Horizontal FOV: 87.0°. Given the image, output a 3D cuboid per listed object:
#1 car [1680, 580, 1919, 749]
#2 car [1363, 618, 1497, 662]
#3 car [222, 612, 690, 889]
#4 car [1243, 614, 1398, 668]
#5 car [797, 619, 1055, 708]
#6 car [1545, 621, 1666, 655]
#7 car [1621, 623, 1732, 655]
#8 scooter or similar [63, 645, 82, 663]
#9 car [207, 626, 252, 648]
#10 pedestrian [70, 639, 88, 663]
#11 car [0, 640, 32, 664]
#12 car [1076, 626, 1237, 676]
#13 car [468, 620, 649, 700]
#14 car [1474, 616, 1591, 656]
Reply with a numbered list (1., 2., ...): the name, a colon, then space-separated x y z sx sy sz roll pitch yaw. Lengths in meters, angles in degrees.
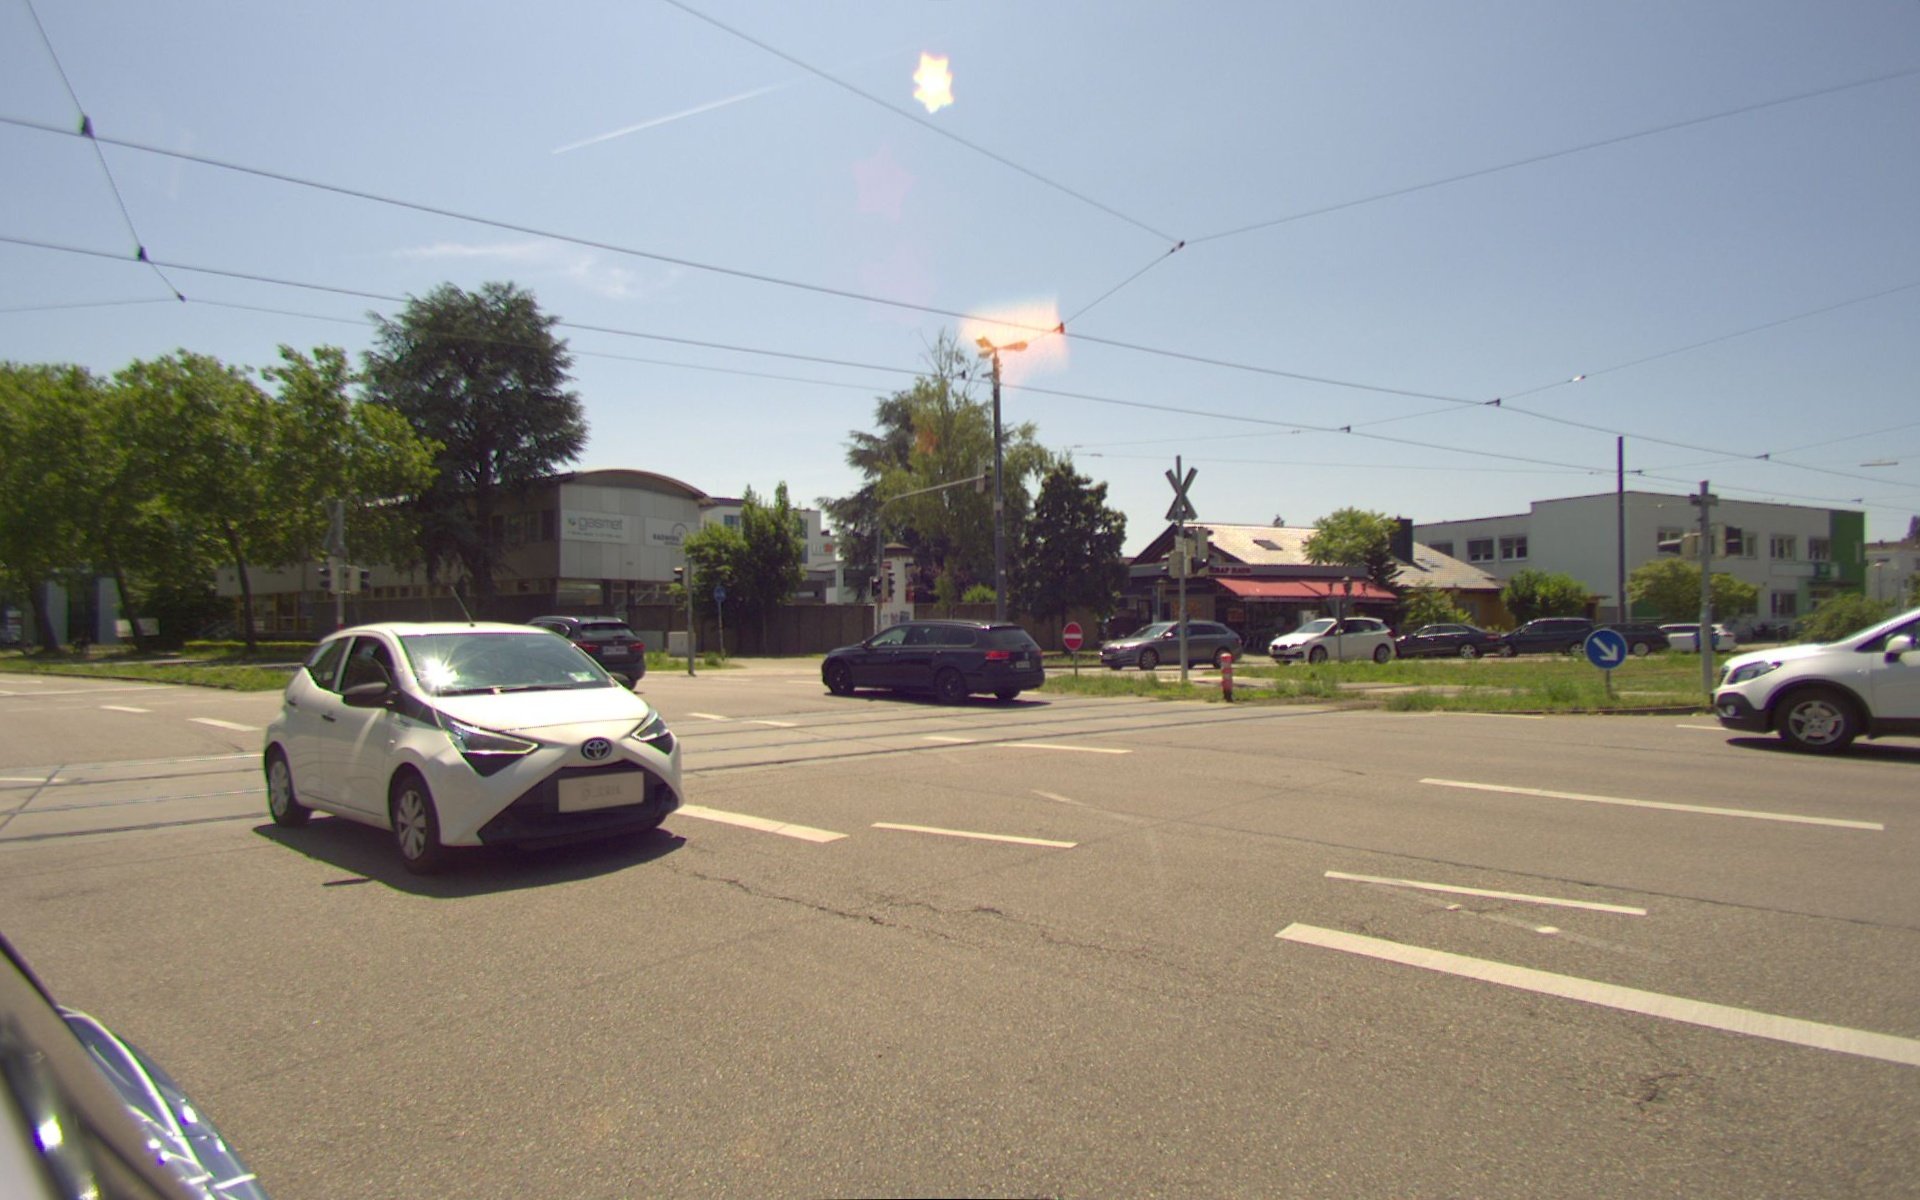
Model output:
1. car: 10.043 0.616 10.165 4.402 1.627 1.769 -2 -2 41
2. car: 18.787 1.598 40.545 4.560 1.663 1.762 -2 -3 36
3. car: -3.676 0.857 7.137 3.648 1.456 1.602 -2 -2 39
4. car: 11.794 1.316 33.156 4.384 1.617 2.224 0 -2 -23
5. car: -0.735 1.118 18.936 4.741 1.451 1.930 -2 -2 39
6. car: 28.491 1.682 44.730 4.381 1.422 1.855 -2 -2 37
7. car: 33.280 1.816 47.053 4.058 1.434 1.921 -2 -2 40
8. scooter or similar: -59.133 3.604 67.464 0.855 1.172 0.674 -2 -2 26
9. car: -57.890 2.948 80.195 3.520 1.659 1.800 -2 0 35
10. pedestrian: -58.399 3.386 67.109 0.787 1.572 0.638 -2 -2 26
11. car: -71.733 3.873 75.055 1.890 1.692 4.445 -1 -1 -2
12. car: 6.045 1.536 31.108 4.589 1.391 1.894 0 -2 -25
13. car: -8.689 1.231 21.749 4.297 1.550 1.889 -2 -2 41
14. car: 24.787 1.567 43.875 4.186 1.663 1.762 -2 -2 37
